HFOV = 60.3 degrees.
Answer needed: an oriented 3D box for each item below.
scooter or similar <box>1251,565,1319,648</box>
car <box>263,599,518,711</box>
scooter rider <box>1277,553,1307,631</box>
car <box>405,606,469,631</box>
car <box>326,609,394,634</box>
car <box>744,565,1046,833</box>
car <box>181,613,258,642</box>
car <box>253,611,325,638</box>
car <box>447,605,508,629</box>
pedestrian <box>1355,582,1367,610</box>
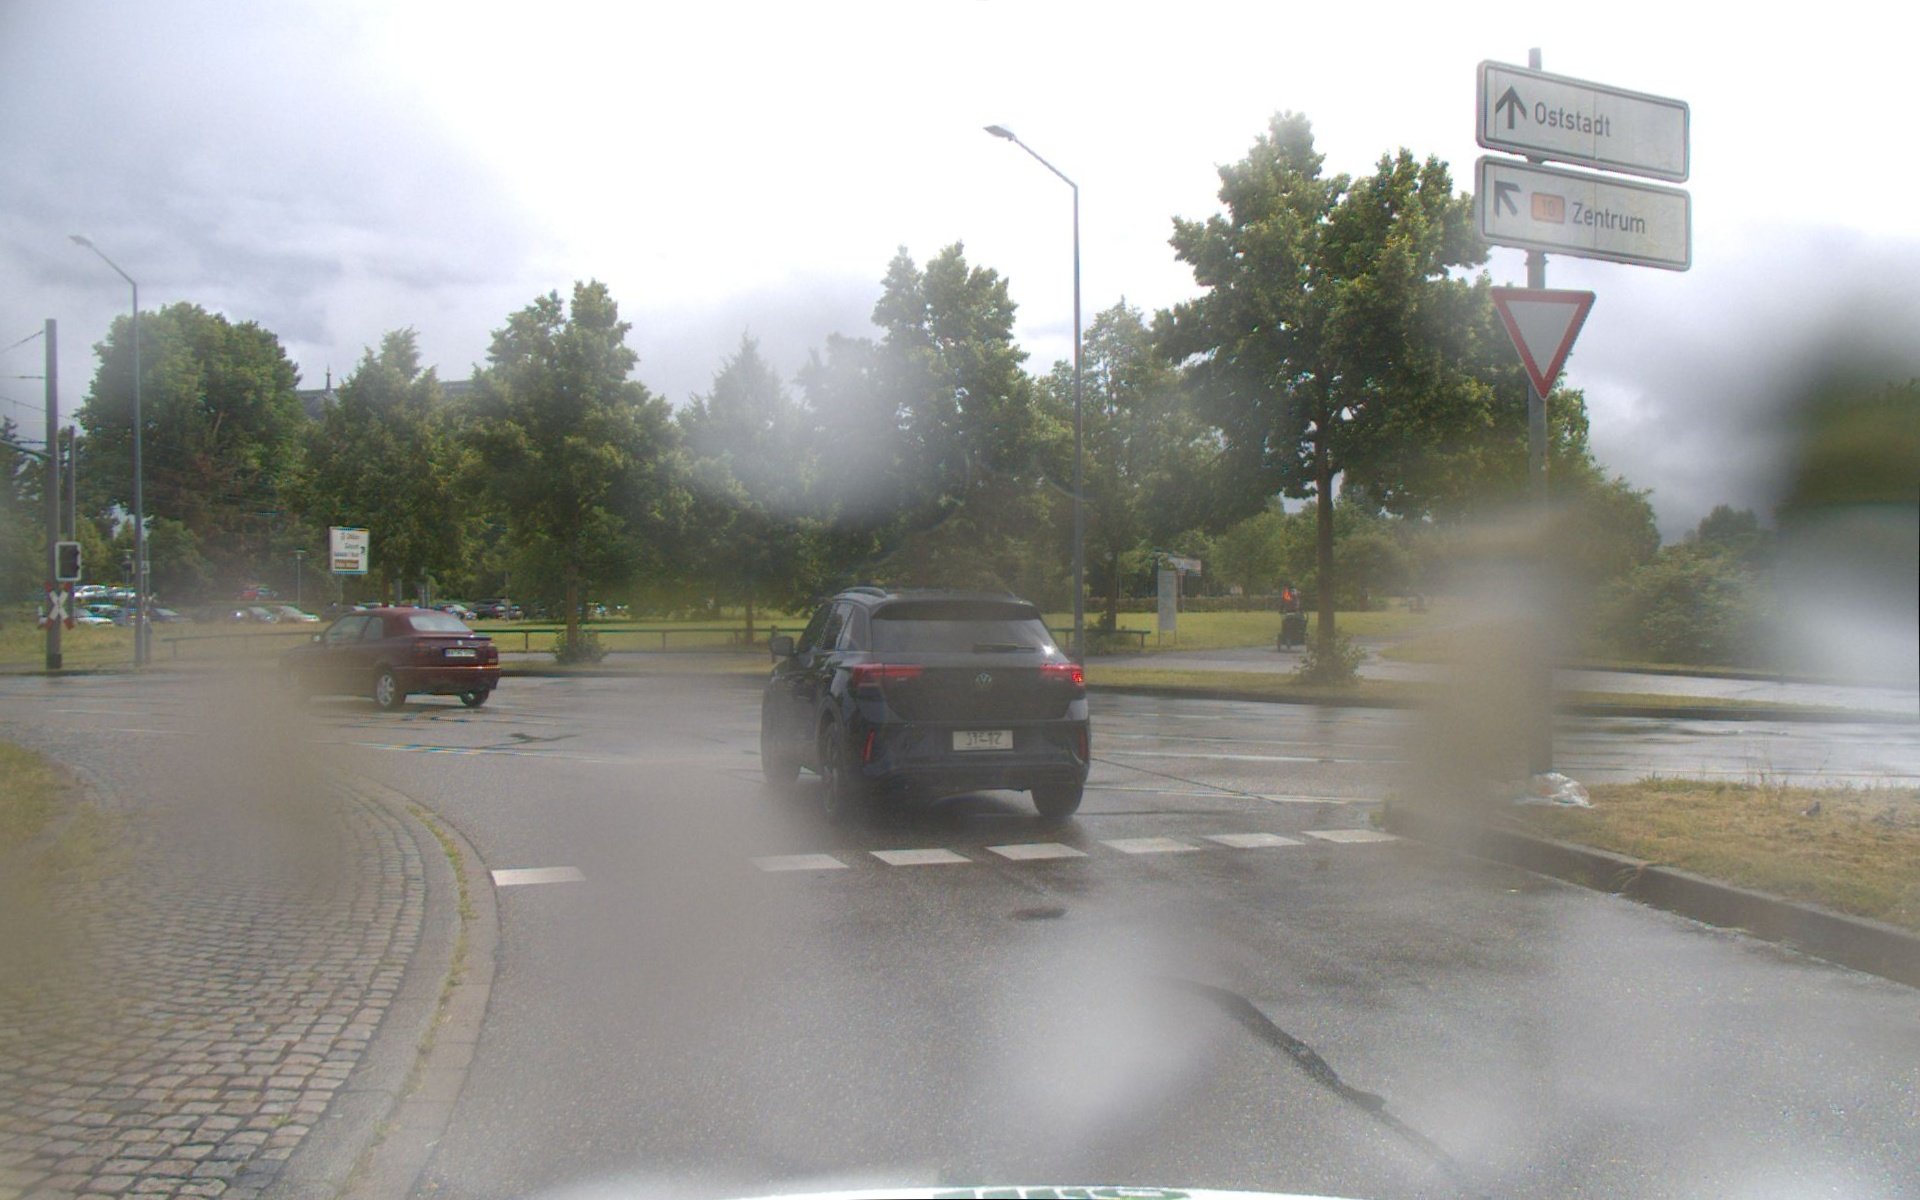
[{"bbox_3d":[8.437,0.204,42.732,1.210,2.049,3.409,0,-2,20],"label":"scooter or similar"},{"bbox_3d":[-8.561,0.758,24.745,3.921,1.488,1.713,1,1,37],"label":"car"},{"bbox_3d":[8.779,-0.204,43.738,0.689,2.049,0.771,0,-2,17],"label":"scooter rider"},{"bbox_3d":[-36.484,1.286,115.352,3.883,1.587,1.851,-1,0,20],"label":"car"},{"bbox_3d":[-39.302,1.413,108.276,3.883,1.587,1.851,-1,0,20],"label":"car"},{"bbox_3d":[-0.640,0.628,12.266,1.861,1.646,3.993,1,0,-7],"label":"car"},{"bbox_3d":[-43.291,1.593,96.662,3.883,1.587,1.851,-1,0,20],"label":"car"},{"bbox_3d":[-41.302,1.504,101.795,3.883,1.587,1.851,-1,0,20],"label":"car"},{"bbox_3d":[-34.968,1.225,119.774,3.883,1.587,1.851,-1,0,20],"label":"car"},{"bbox_3d":[25.671,-0.266,105.915,0.586,1.762,0.605,0,-2,27],"label":"pedestrian"}]
